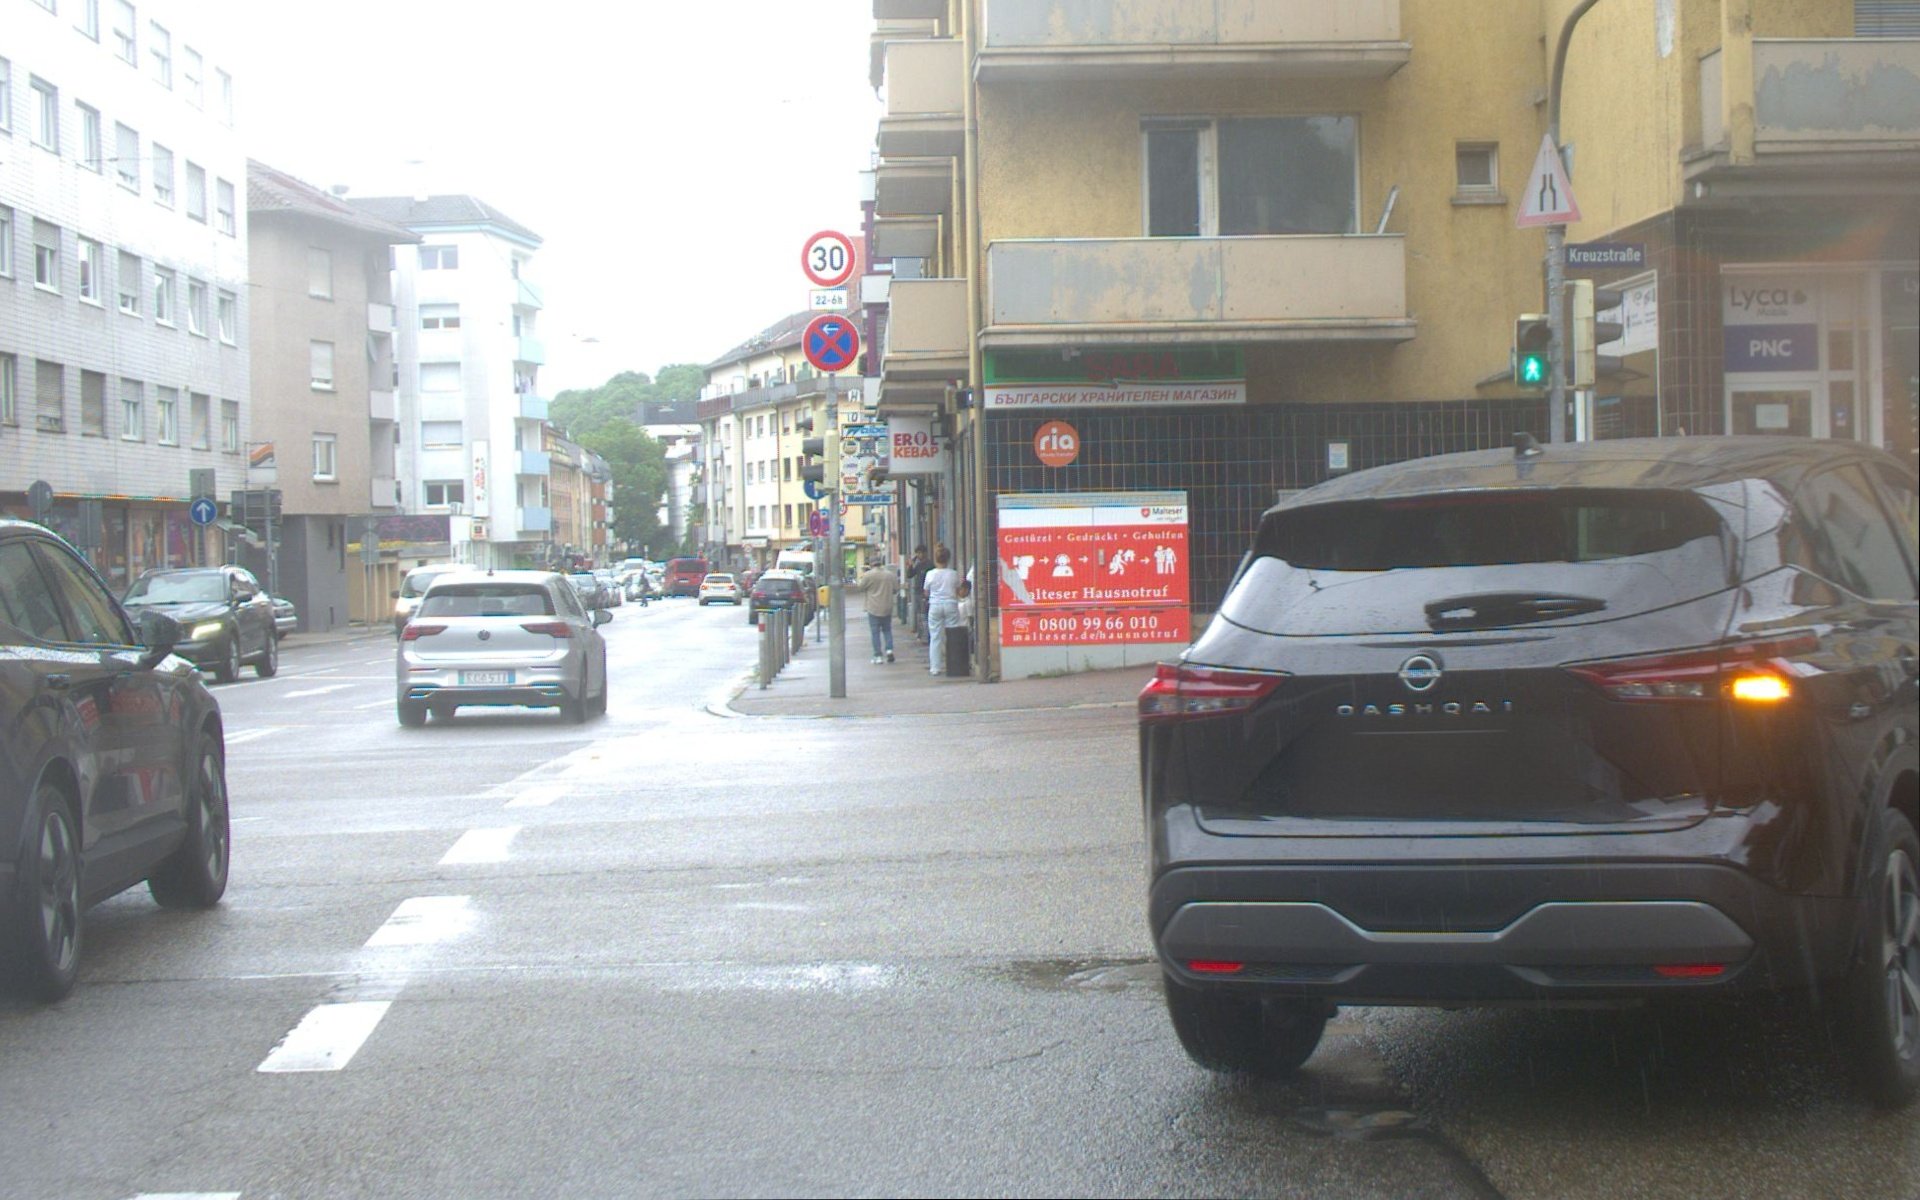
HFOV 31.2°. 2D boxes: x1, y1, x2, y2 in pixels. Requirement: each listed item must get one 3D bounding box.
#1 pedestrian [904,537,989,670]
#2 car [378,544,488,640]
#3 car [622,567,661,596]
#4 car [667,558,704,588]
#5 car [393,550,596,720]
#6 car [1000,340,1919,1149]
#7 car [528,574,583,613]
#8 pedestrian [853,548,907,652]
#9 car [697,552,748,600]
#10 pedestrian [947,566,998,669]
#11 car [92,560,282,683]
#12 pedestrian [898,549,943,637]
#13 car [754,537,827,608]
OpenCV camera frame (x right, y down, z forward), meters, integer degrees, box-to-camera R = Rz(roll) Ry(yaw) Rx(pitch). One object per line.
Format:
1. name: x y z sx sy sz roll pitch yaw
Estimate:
1. pedestrian: -0.174 0.036 42.756 0.835 1.553 0.833 -7 1 -3
2. car: -12.163 -0.215 79.600 1.910 2.006 4.001 -4 1 -2
3. car: -18.017 -1.039 194.791 1.993 1.481 4.001 -3 2 -3
4. car: -16.254 -1.617 203.494 1.993 1.632 4.831 -3 2 -3
5. car: -4.468 0.285 33.166 1.767 1.439 4.001 -2 2 -7
6. car: 1.916 0.208 9.552 1.962 1.646 3.996 -4 4 26
7. car: -17.058 -0.295 145.289 1.993 1.481 4.001 -3 2 -3
8. pedestrian: -1.219 -0.002 52.552 0.704 1.553 0.629 -1 1 7
9. car: -10.701 -1.112 155.192 1.993 2.007 4.000 -3 1 -1
10. pedestrian: 0.155 0.211 43.039 0.463 1.229 0.554 -7 1 -2
11. car: -11.158 0.284 49.849 1.779 1.591 3.793 -3 1 1
12. pedestrian: -0.708 -0.127 61.515 0.628 1.553 0.705 -1 2 13
13. car: -5.206 -0.858 105.179 1.993 2.006 4.001 -4 1 -4
